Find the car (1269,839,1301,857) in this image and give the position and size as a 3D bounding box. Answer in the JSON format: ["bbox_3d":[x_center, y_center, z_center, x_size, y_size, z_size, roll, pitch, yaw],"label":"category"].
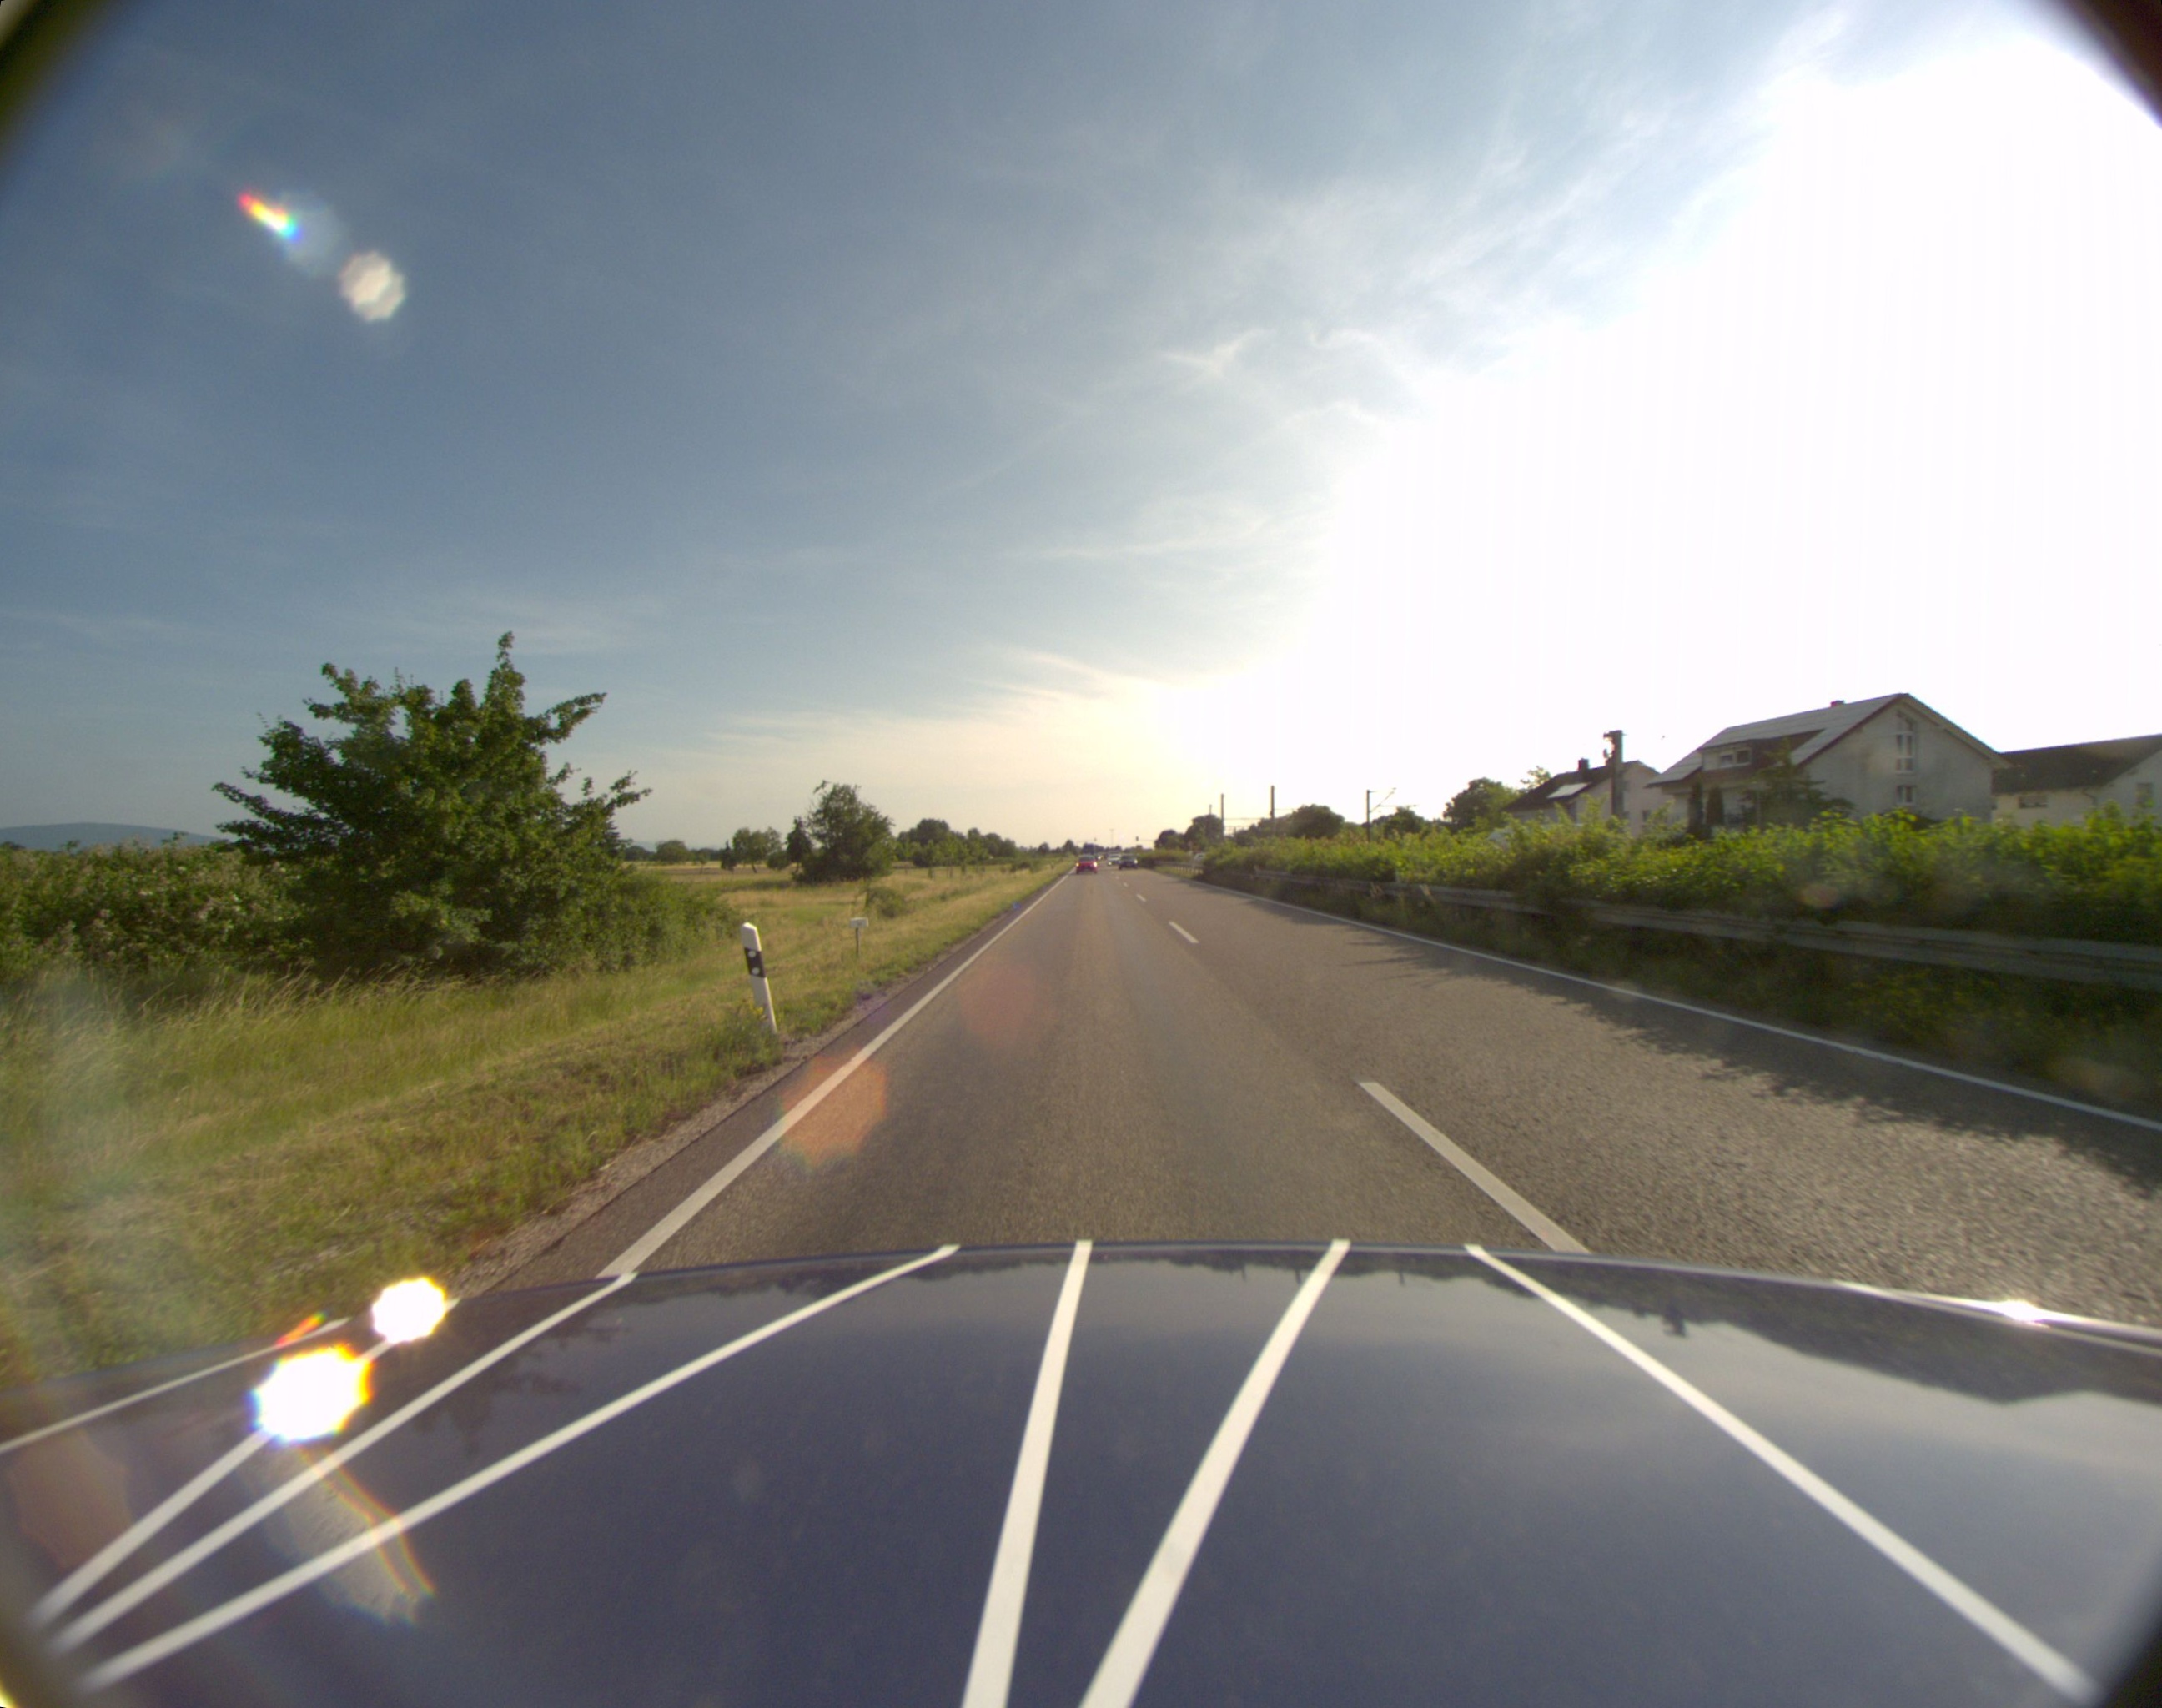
[{"bbox_3d":[20.174,-0.583,75.311,1.998,1.739,4.000,-2,0,1],"label":"car"}]

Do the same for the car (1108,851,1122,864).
[{"bbox_3d":[4.285,0.439,96.822,1.636,1.442,4.000,-2,0,1],"label":"car"}]

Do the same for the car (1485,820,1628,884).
[{"bbox_3d":[16.658,-0.080,26.974,1.998,2.002,4.871,-2,0,1],"label":"car"}]

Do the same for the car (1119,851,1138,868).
[{"bbox_3d":[4.546,0.524,73.755,1.636,1.500,4.000,-2,0,1],"label":"car"}]

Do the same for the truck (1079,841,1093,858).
[{"bbox_3d":[1.201,-1.003,179.546,2.849,3.896,10.104,-2,0,1],"label":"truck"}]

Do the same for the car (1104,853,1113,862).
[{"bbox_3d":[6.115,0.705,170.946,1.998,2.002,4.000,-2,0,1],"label":"car"}]

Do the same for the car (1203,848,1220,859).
[{"bbox_3d":[18.163,-0.090,105.945,1.733,1.358,3.622,2,0,1],"label":"car"}]

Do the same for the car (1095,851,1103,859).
[{"bbox_3d":[3.613,0.194,154.316,1.636,1.442,4.000,-2,0,1],"label":"car"}]

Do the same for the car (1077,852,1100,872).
[{"bbox_3d":[0.642,0.639,63.356,1.735,1.467,4.000,-2,0,1],"label":"car"}]
